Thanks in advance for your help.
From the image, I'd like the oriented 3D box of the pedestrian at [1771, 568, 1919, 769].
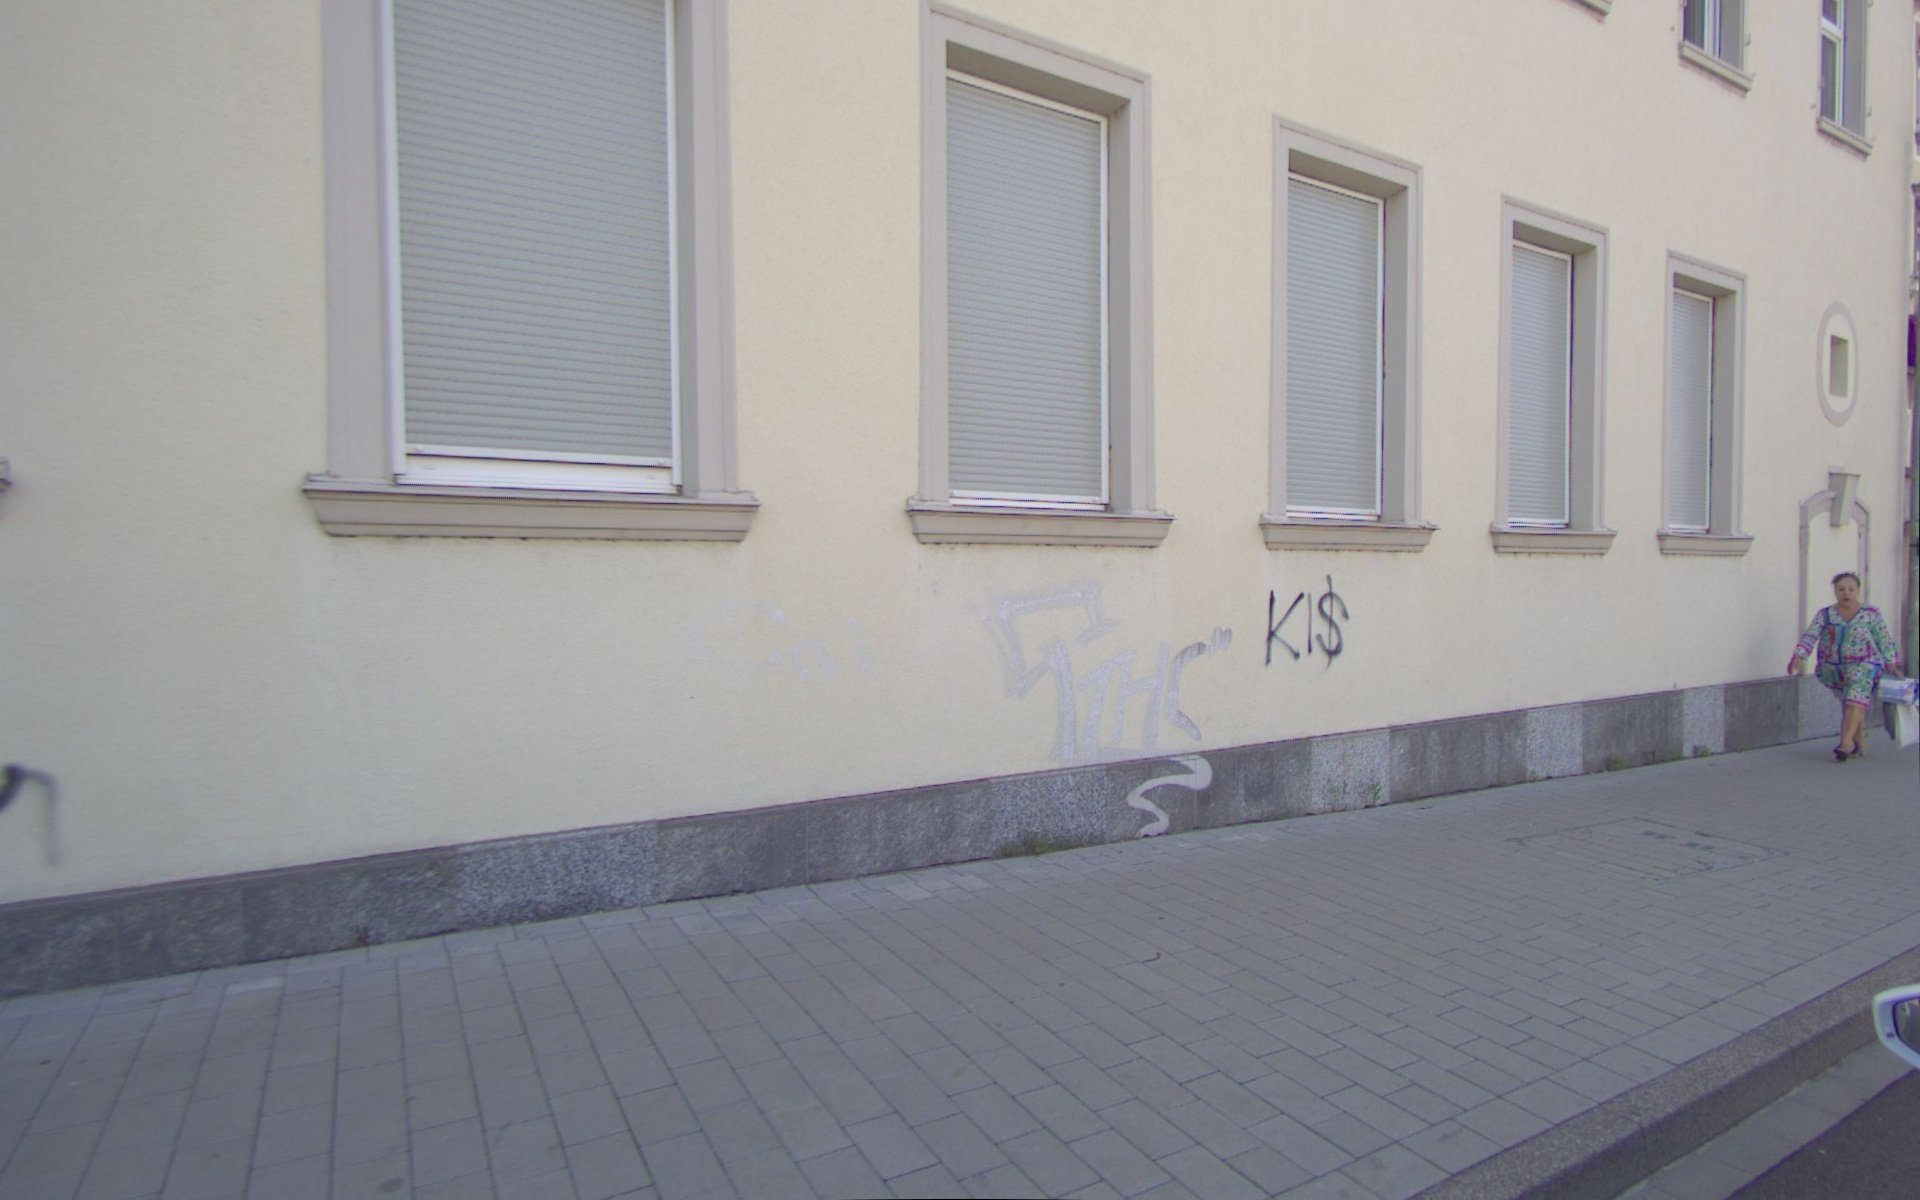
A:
[{"bbox_3d":[7.896,0.554,8.853,0.749,1.653,0.953,-1,2,-31],"label":"pedestrian"}]
